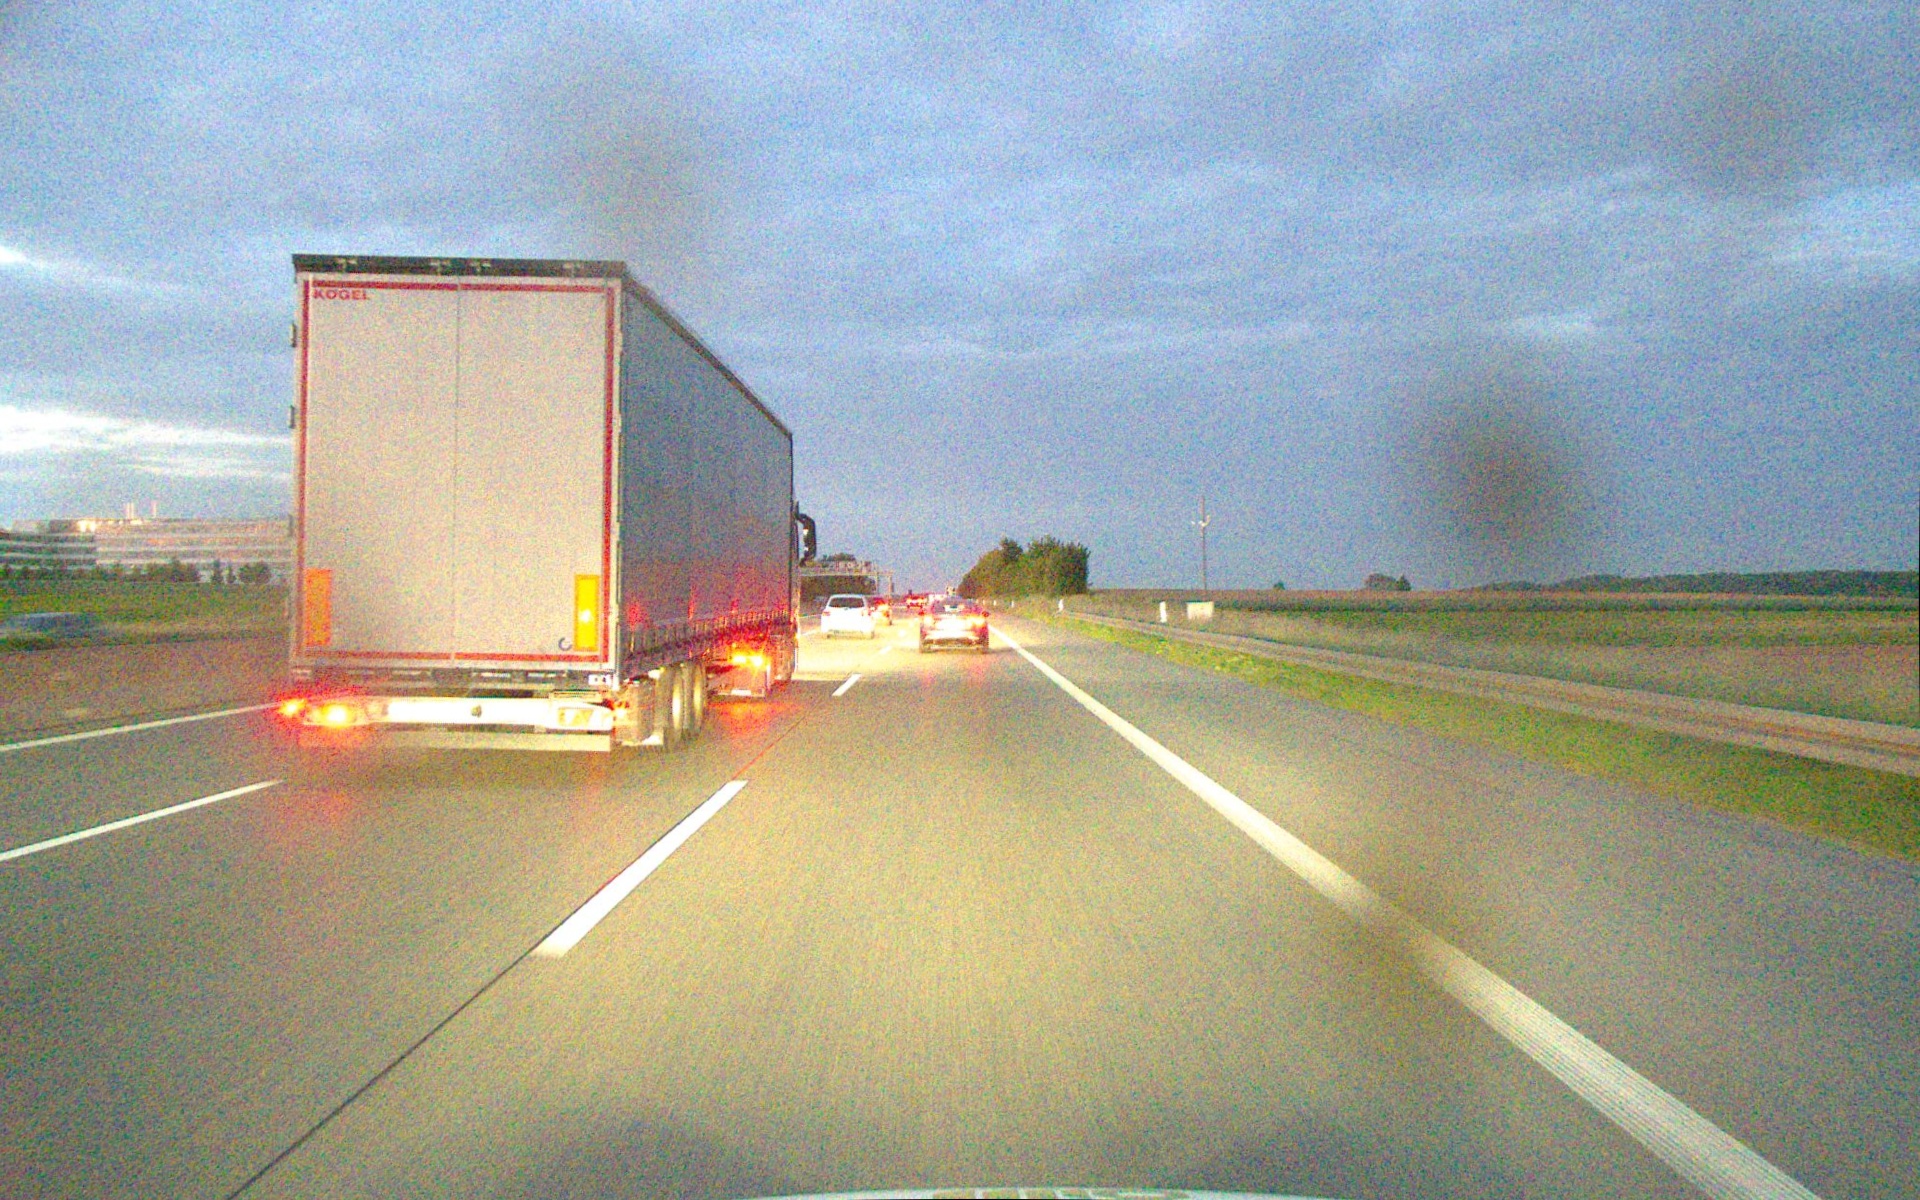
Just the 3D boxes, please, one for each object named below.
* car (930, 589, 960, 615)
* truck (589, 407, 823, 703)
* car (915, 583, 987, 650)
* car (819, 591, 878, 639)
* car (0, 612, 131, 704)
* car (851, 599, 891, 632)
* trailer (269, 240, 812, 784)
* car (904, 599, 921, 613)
[{"bbox_3d":[-0.985,0.139,105.319,1.842,1.579,3.999,1,0,-1],"label":"car"},{"bbox_3d":[-3.821,-0.617,26.292,2.720,4.164,6.102,0,0,0],"label":"truck"},{"bbox_3d":[-0.251,0.437,44.615,1.842,1.672,3.999,1,0,-1],"label":"car"},{"bbox_3d":[-3.795,0.500,57.060,1.708,1.551,4.414,1,0,0],"label":"car"},{"bbox_3d":[-21.949,1.333,39.854,1.737,2.049,4.418,1,0,-1],"label":"car"},{"bbox_3d":[-4.197,0.741,78.833,1.688,1.497,4.725,1,0,-1],"label":"car"},{"bbox_3d":[-3.850,-0.626,19.893,2.736,4.157,14.525,0,0,0],"label":"trailer"},{"bbox_3d":[-5.520,0.666,193.011,1.842,1.579,3.999,1,0,-1],"label":"car"}]
